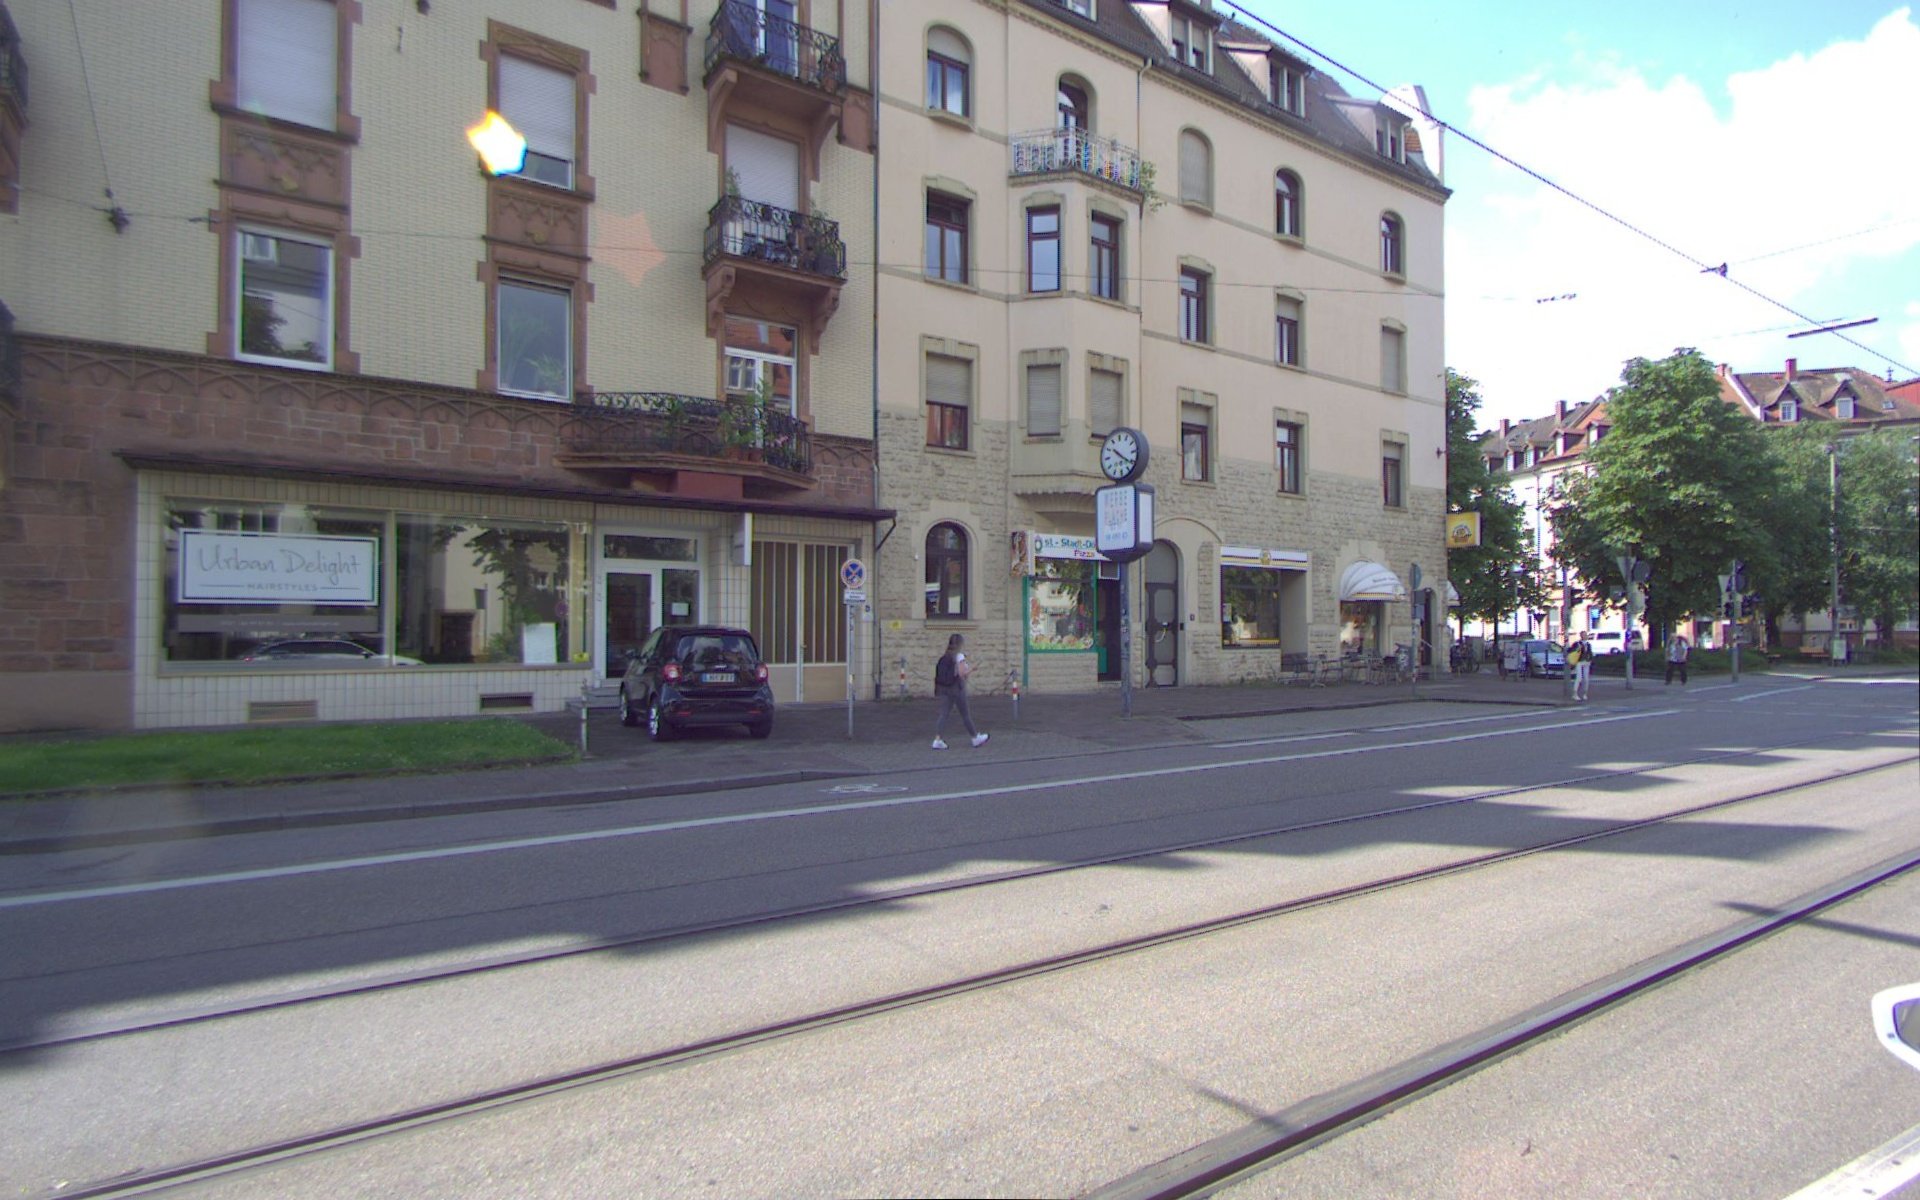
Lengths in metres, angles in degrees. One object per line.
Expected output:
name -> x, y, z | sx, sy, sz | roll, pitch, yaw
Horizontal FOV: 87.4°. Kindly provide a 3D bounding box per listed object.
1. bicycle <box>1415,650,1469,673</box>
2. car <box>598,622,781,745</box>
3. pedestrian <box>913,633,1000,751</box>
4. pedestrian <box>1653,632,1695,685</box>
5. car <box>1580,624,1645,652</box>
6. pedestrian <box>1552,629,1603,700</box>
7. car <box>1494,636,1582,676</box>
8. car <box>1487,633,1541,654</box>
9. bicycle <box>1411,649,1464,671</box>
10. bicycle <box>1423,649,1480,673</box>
bicycle -> 20.223, 2.592, 42.178 | 1.990, 0.894, 0.512 | 1, -2, 13
car -> -4.099, 1.125, 14.891 | 1.687, 1.506, 3.425 | 1, 0, -32
pedestrian -> -0.053, 1.271, 14.213 | 0.955, 1.562, 0.688 | 1, 2, -40
pedestrian -> 23.179, 1.880, 32.628 | 0.813, 1.694, 0.850 | 1, -2, -32
car -> 47.923, 2.803, 73.860 | 1.823, 2.015, 3.942 | 0, -2, -10
pedestrian -> 15.915, 1.649, 25.880 | 0.865, 1.727, 0.751 | 1, 2, -34
car -> 22.096, 2.099, 38.578 | 1.686, 1.439, 3.876 | 0, -2, 10
car -> 46.076, 3.583, 83.627 | 1.882, 1.685, 3.934 | 0, -2, -11
bicycle -> 20.595, 2.575, 43.362 | 1.990, 0.894, 0.512 | 1, -2, 13
bicycle -> 19.977, 2.479, 40.850 | 1.990, 0.894, 0.523 | 1, -2, 13
